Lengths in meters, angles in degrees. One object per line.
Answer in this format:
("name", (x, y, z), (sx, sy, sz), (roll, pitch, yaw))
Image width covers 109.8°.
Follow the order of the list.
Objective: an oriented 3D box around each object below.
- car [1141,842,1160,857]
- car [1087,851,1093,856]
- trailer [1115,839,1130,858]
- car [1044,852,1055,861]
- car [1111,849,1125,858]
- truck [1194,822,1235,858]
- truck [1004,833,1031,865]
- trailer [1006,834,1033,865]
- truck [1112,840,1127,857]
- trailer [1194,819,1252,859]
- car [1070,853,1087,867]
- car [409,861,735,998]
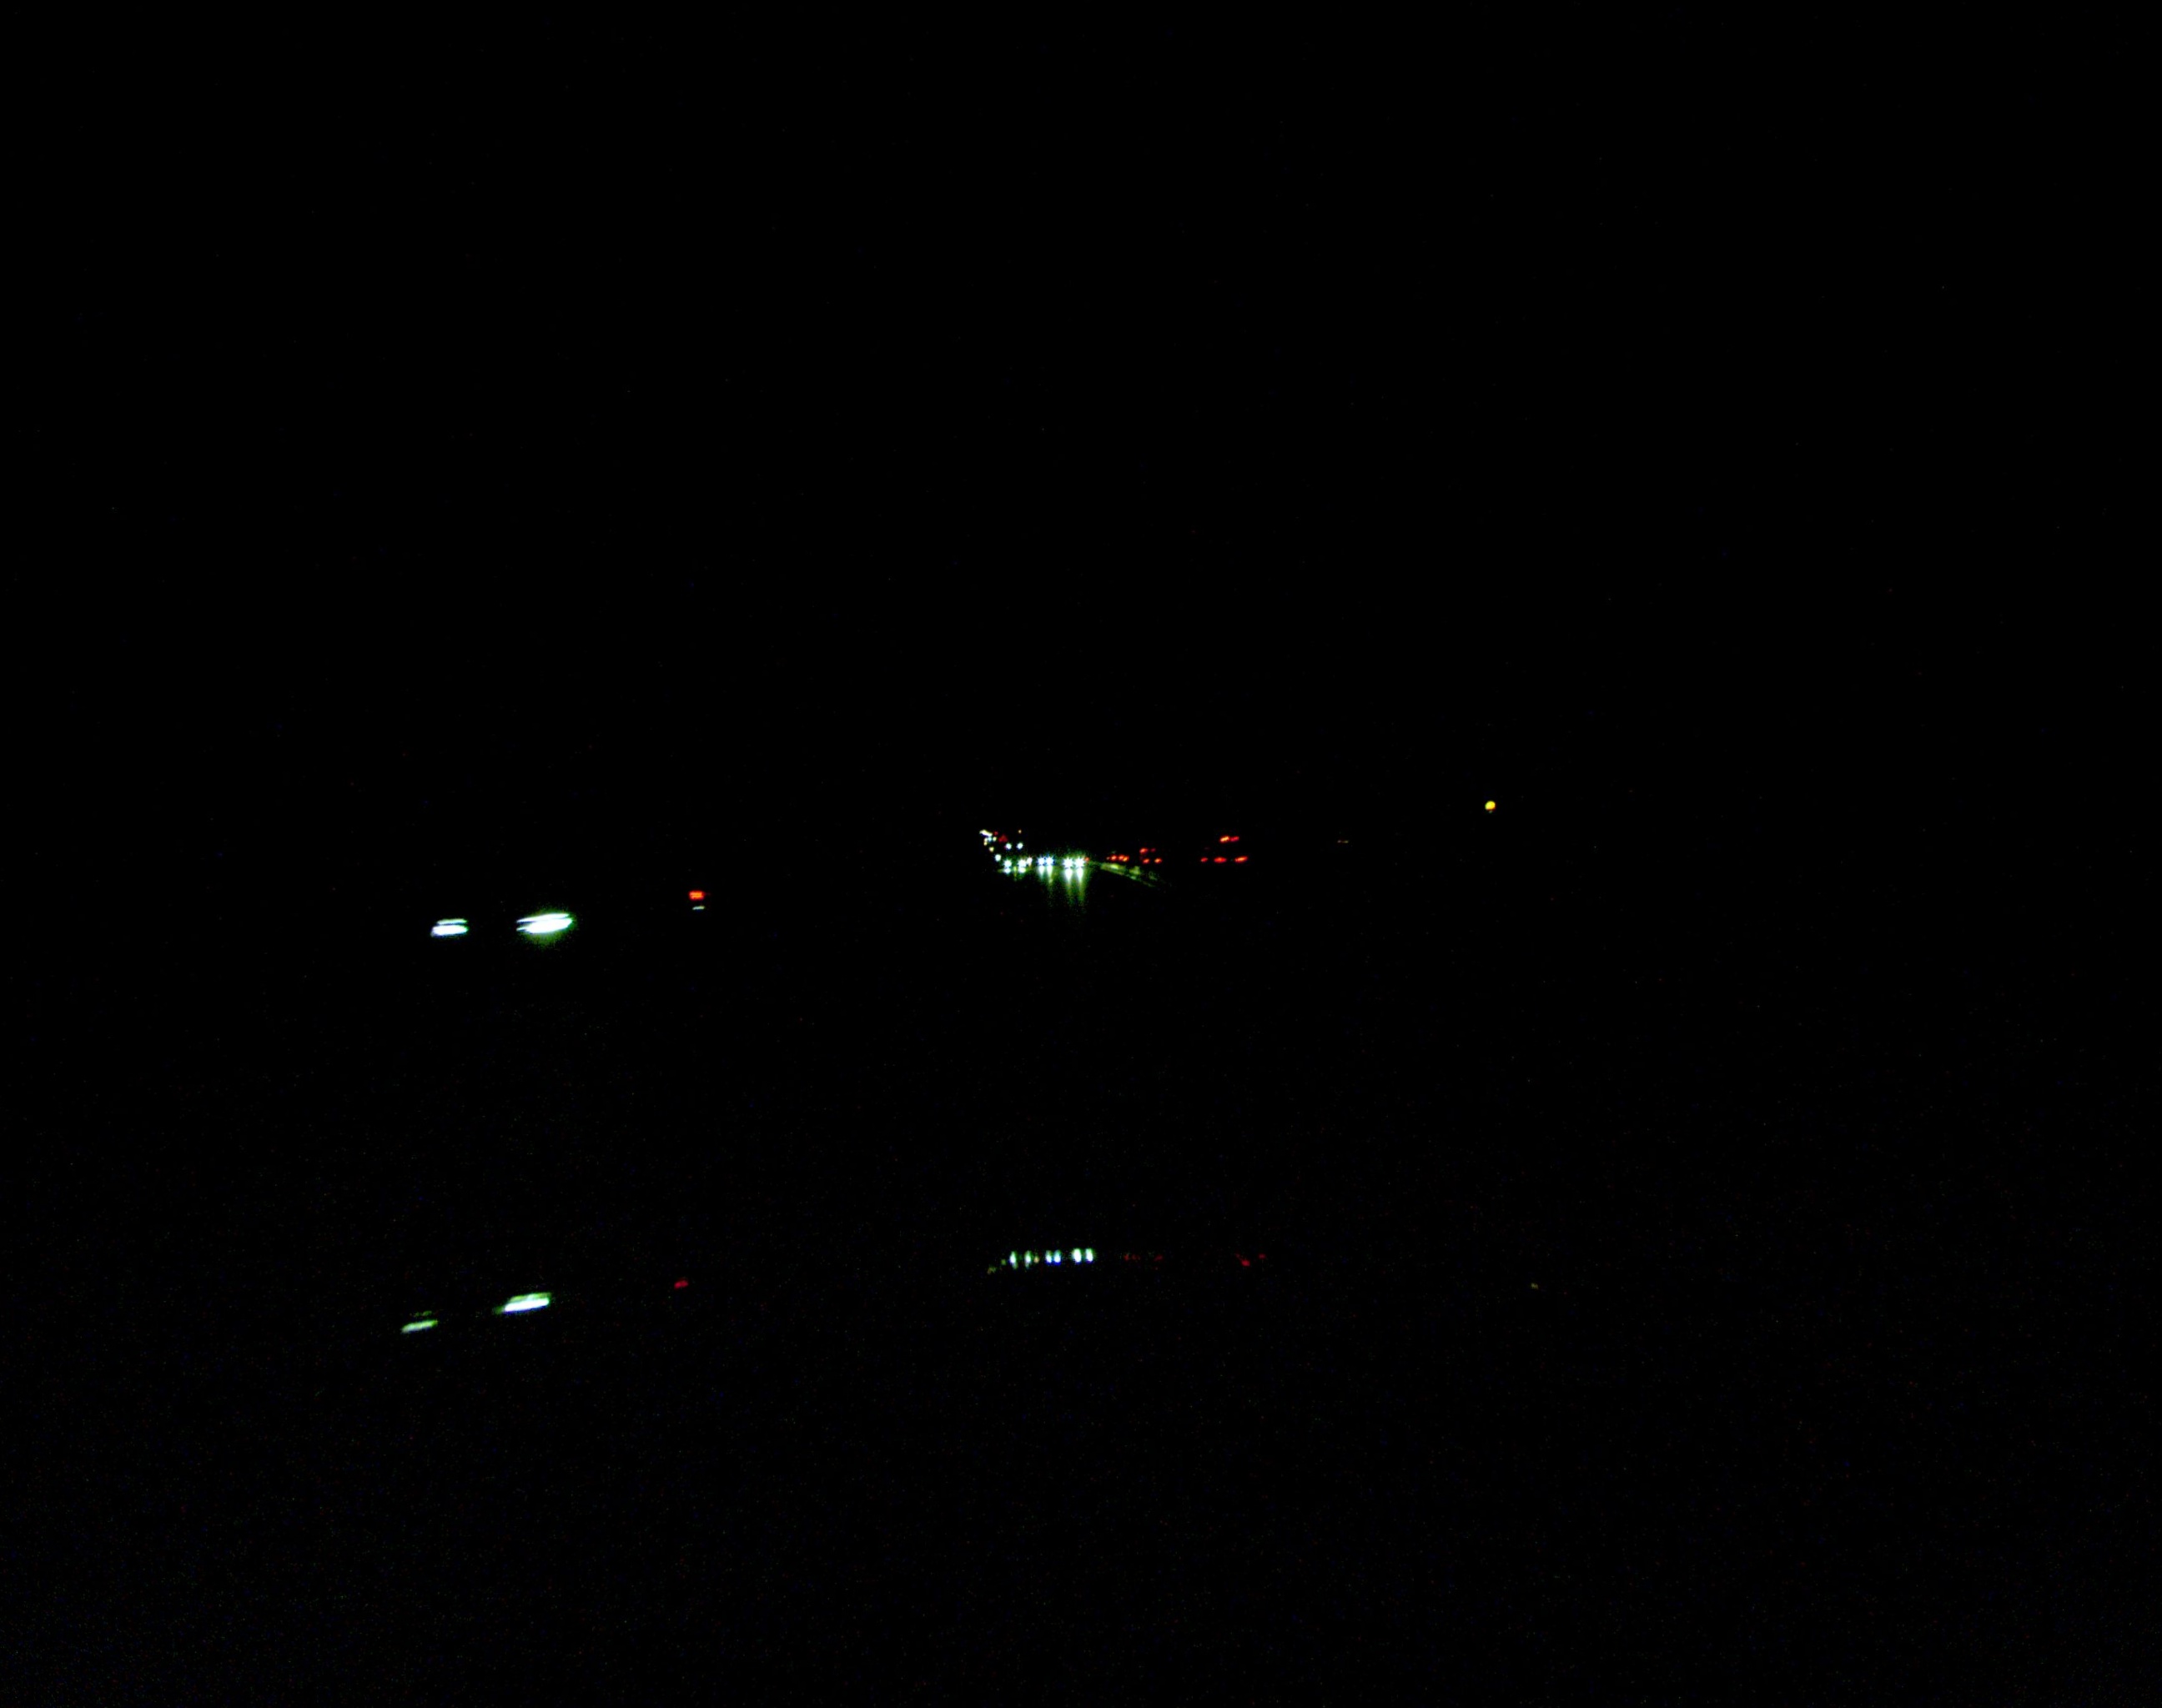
("car", (11.033, -0.702, 120.721), (2.058, 2.185, 6.965), (-2, 0, -1))
("car", (2.828, -0.073, 237.703), (1.773, 1.376, 4.389), (-2, 0, -3))
("trailer", (10.379, -1.401, 191.689), (3.058, 4.413, 8.599), (-2, 0, -2))
("car", (-5.799, 0.394, 139.658), (1.940, 1.608, 3.999), (-2, 1, -2))
("car", (6.625, -0.102, 136.347), (2.071, 1.613, 4.695), (-2, 0, 0))
("truck", (15.811, -1.650, 90.347), (3.446, 3.983, 6.773), (-3, 1, -1))
("truck", (-9.294, -0.697, 111.774), (3.347, 4.408, 6.991), (-3, 1, -2))
("trailer", (-9.588, -0.768, 119.727), (3.347, 4.408, 13.572), (-3, 1, -2))
("truck", (10.055, -1.394, 201.123), (3.058, 4.413, 10.421), (-2, 0, -2))
("trailer", (15.885, -1.612, 86.350), (3.446, 3.983, 14.756), (-3, 1, -1))
("car", (-0.345, 0.724, 92.958), (2.012, 1.652, 3.999), (-2, 1, 0))
("car", (-8.029, 1.037, 12.817), (1.999, 1.708, 5.167), (-2, 0, -1))
